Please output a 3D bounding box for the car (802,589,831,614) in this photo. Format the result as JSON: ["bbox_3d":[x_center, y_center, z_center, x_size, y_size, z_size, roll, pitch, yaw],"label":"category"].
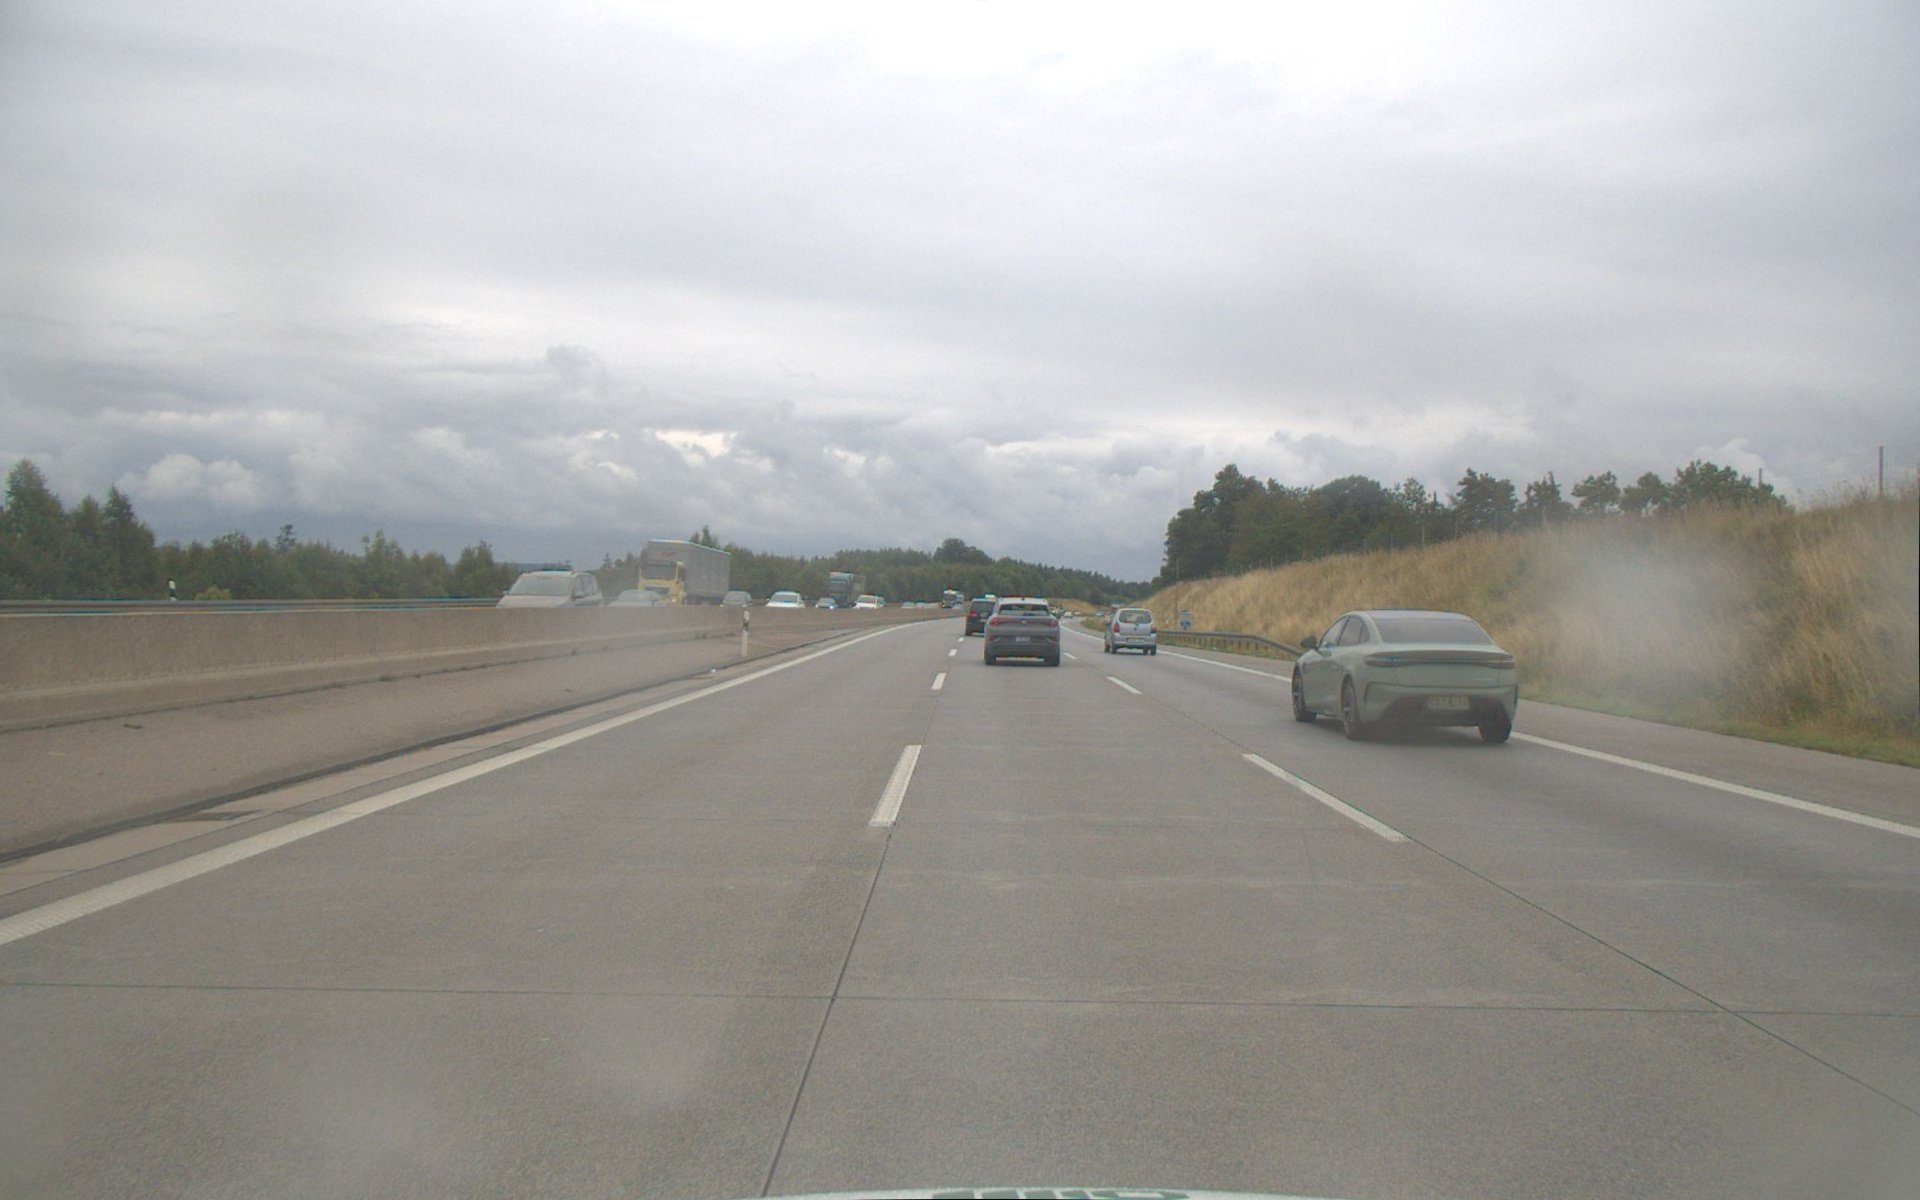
[{"bbox_3d":[-12.332,0.077,142.920,1.875,2.049,5.925,1,1,1],"label":"car"}]

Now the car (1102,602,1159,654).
[{"bbox_3d":[5.540,0.888,54.006,1.455,1.496,3.505,3,1,1],"label":"car"}]

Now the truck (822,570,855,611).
[{"bbox_3d":[-13.580,-1.093,185.143,2.732,4.336,6.051,4,1,2],"label":"truck"}]

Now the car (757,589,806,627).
[{"bbox_3d":[-9.406,0.407,87.456,1.992,1.900,4.604,1,0,0],"label":"car"}]

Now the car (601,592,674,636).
[{"bbox_3d":[-13.099,0.527,67.416,1.993,1.696,5.268,1,0,-1],"label":"car"}]

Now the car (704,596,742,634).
[{"bbox_3d":[-13.502,0.833,94.448,1.612,2.049,4.000,1,1,-1],"label":"car"}]

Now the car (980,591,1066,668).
[{"bbox_3d":[1.511,0.680,41.499,1.859,1.719,5.265,1,1,-1],"label":"car"}]

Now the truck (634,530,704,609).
[{"bbox_3d":[-16.308,-1.719,93.024,2.872,4.253,5.857,1,1,0],"label":"truck"}]

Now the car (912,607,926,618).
[{"bbox_3d":[-6.031,1.883,244.492,1.682,1.534,4.487,2,-2,2],"label":"car"}]

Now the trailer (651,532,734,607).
[{"bbox_3d":[-16.215,-1.834,101.058,2.858,4.291,11.875,1,1,1],"label":"trailer"}]

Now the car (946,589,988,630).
[{"bbox_3d":[0.328,0.415,75.803,1.748,1.777,3.917,1,1,3],"label":"car"}]

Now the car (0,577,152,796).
[{"bbox_3d":[-10.032,0.819,16.037,1.861,2.049,5.278,1,1,-1],"label":"car"}]

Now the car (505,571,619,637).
[{"bbox_3d":[-10.215,0.064,42.838,1.861,1.607,4.741,1,1,-1],"label":"car"}]

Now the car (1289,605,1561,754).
[{"bbox_3d":[5.452,0.860,20.087,1.973,1.471,4.745,1,1,0],"label":"car"}]

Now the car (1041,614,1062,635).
[{"bbox_3d":[7.478,2.021,135.489,1.455,1.496,3.505,3,1,1],"label":"car"}]
